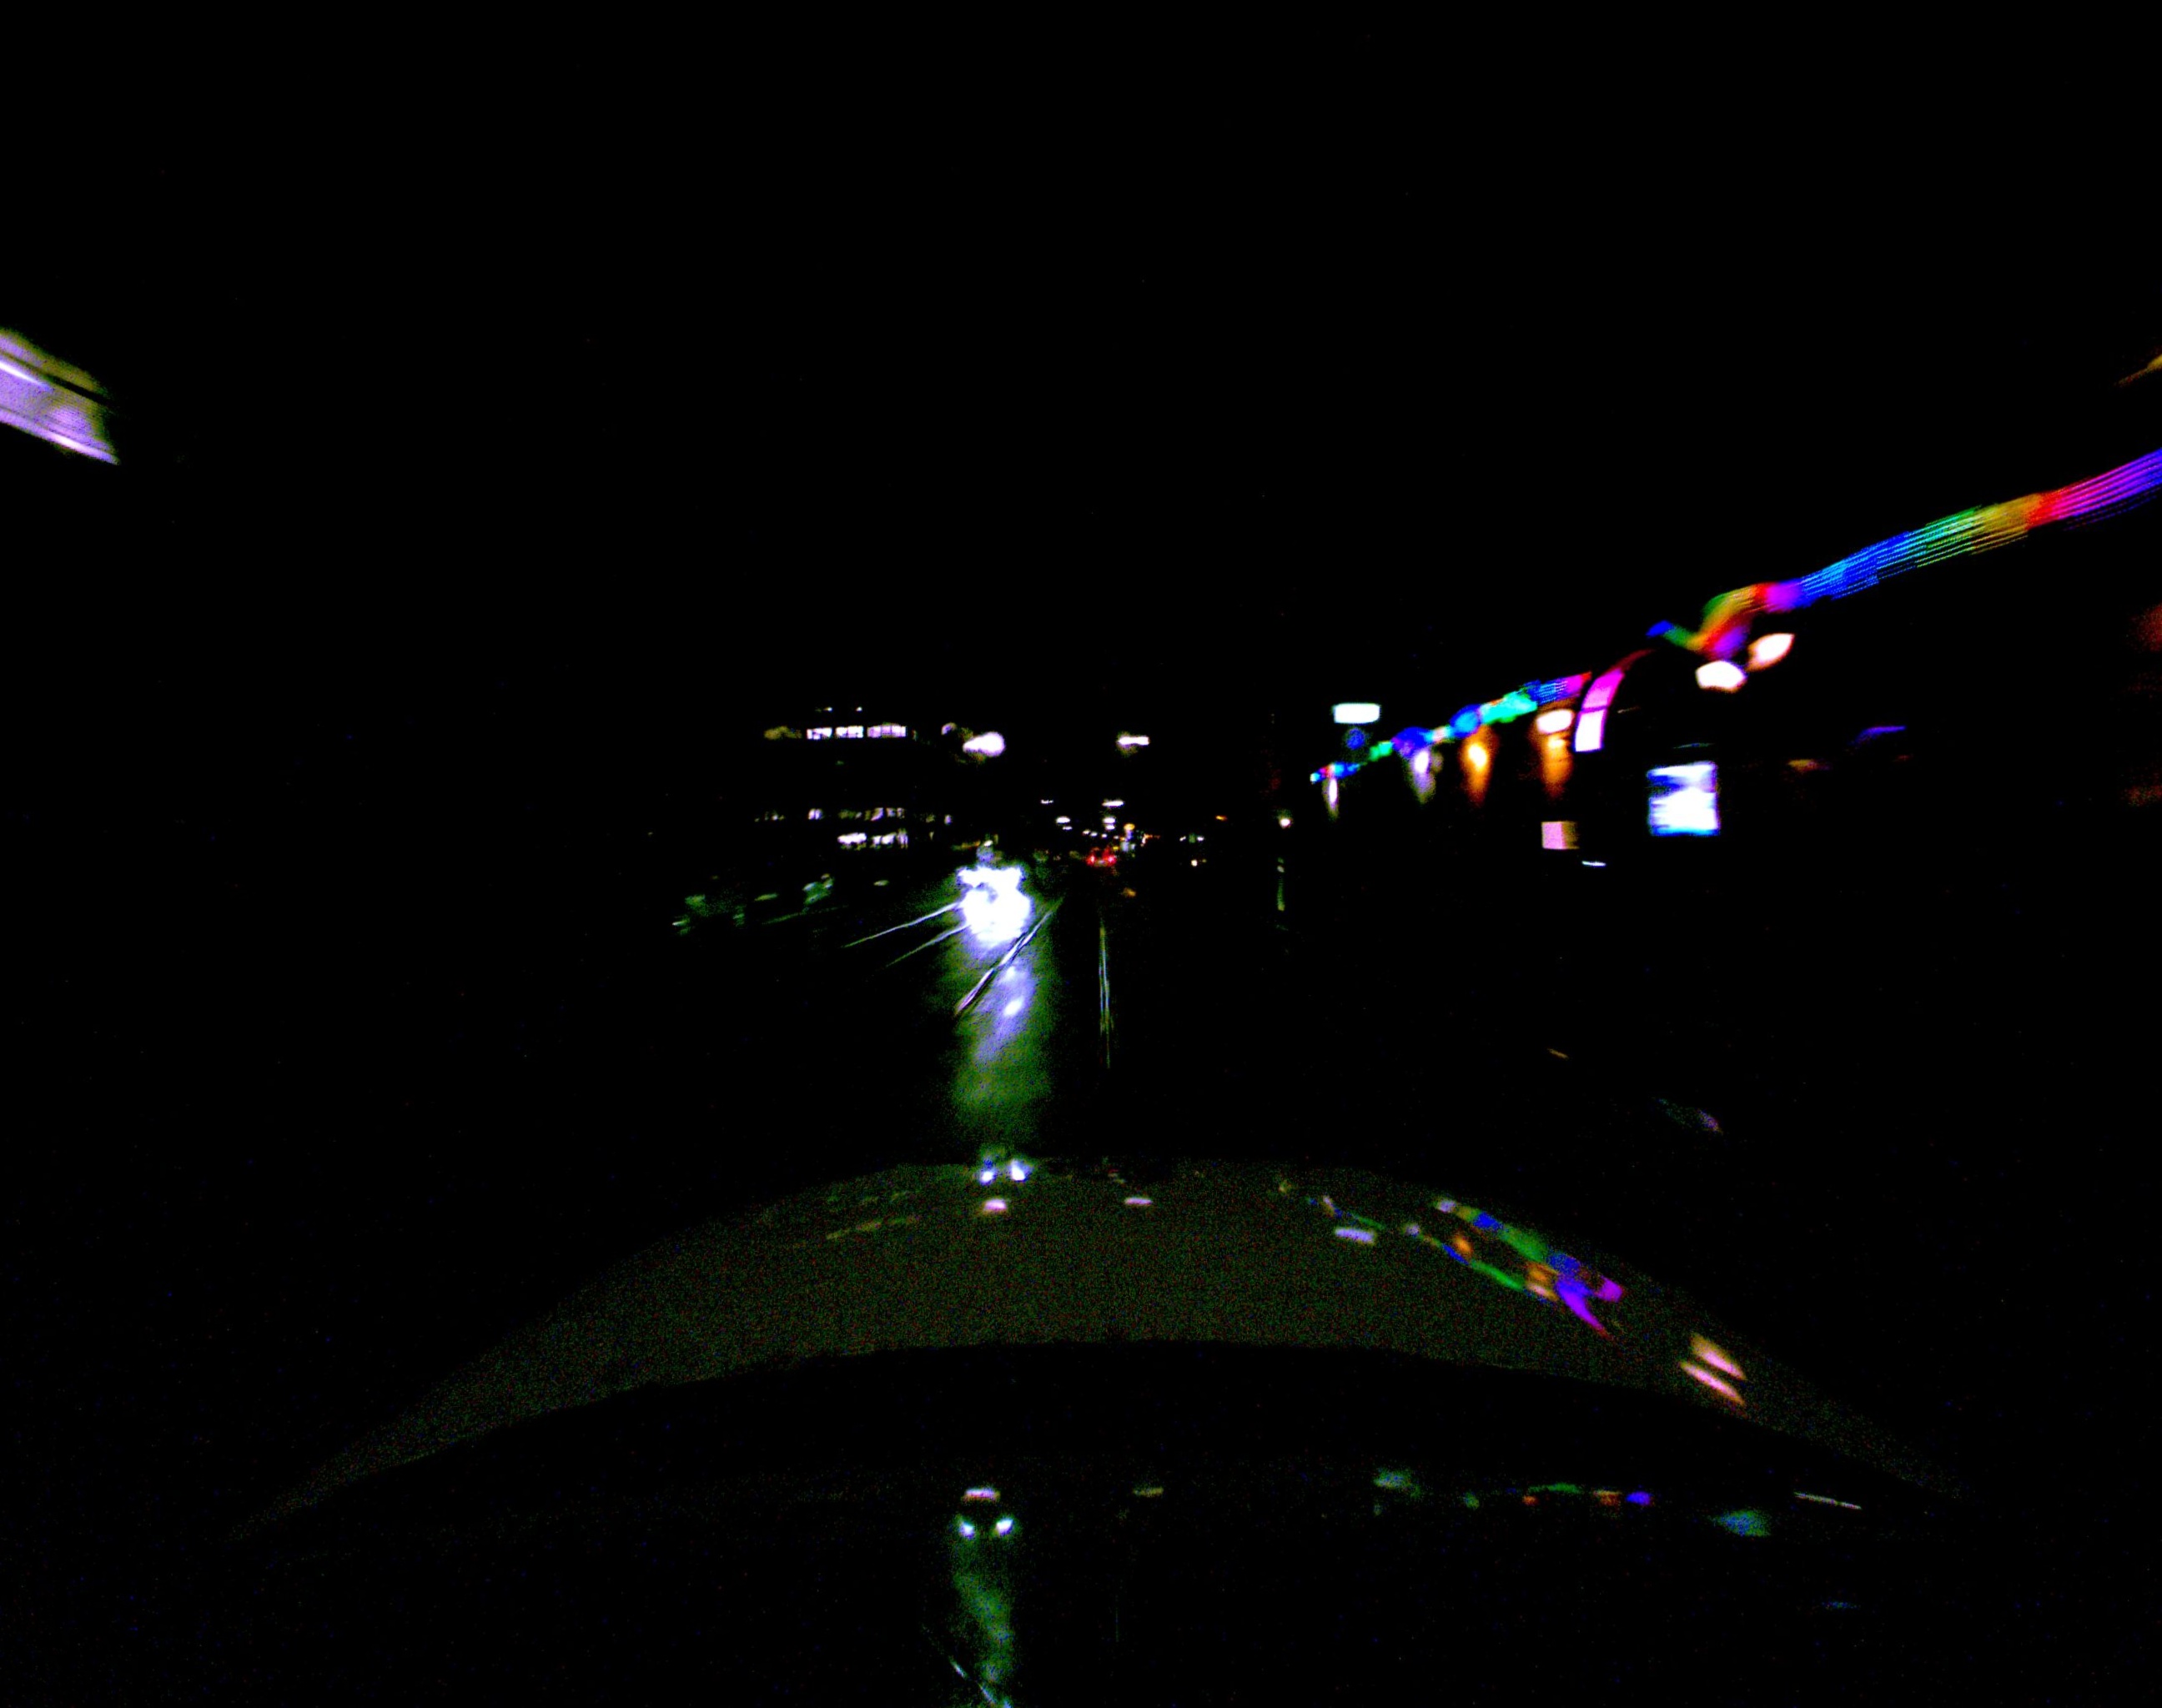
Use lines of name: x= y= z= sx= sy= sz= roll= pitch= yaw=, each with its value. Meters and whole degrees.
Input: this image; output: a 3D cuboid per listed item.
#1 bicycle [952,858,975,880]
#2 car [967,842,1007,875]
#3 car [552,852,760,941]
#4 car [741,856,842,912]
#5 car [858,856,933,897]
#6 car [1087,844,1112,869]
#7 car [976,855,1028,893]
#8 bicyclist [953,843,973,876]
bicycle: x=-6.108 y=0.781 z=42.414 sx=0.779 sy=1.082 sz=1.919 roll=-3 pitch=0 yaw=1
car: x=-7.666 y=0.318 z=67.028 sx=2.176 sy=2.591 sz=6.398 roll=-1 pitch=1 yaw=3
car: x=-8.820 y=0.789 z=17.452 sx=1.976 sy=1.631 sz=4.518 roll=-1 pitch=0 yaw=1
car: x=-8.541 y=0.838 z=24.374 sx=1.686 sy=1.421 sz=3.912 roll=-2 pitch=1 yaw=-2
car: x=-7.992 y=0.918 z=35.524 sx=1.961 sy=1.655 sz=4.604 roll=1 pitch=0 yaw=3
car: x=1.765 y=0.224 z=78.327 sx=2.237 sy=2.361 sz=4.393 roll=-1 pitch=0 yaw=0
car: x=-3.389 y=0.828 z=35.694 sx=1.769 sy=1.517 sz=4.052 roll=-1 pitch=0 yaw=2
bicyclist: x=-6.137 y=0.270 z=42.420 sx=0.780 sy=1.655 sz=1.206 roll=-3 pitch=0 yaw=1
